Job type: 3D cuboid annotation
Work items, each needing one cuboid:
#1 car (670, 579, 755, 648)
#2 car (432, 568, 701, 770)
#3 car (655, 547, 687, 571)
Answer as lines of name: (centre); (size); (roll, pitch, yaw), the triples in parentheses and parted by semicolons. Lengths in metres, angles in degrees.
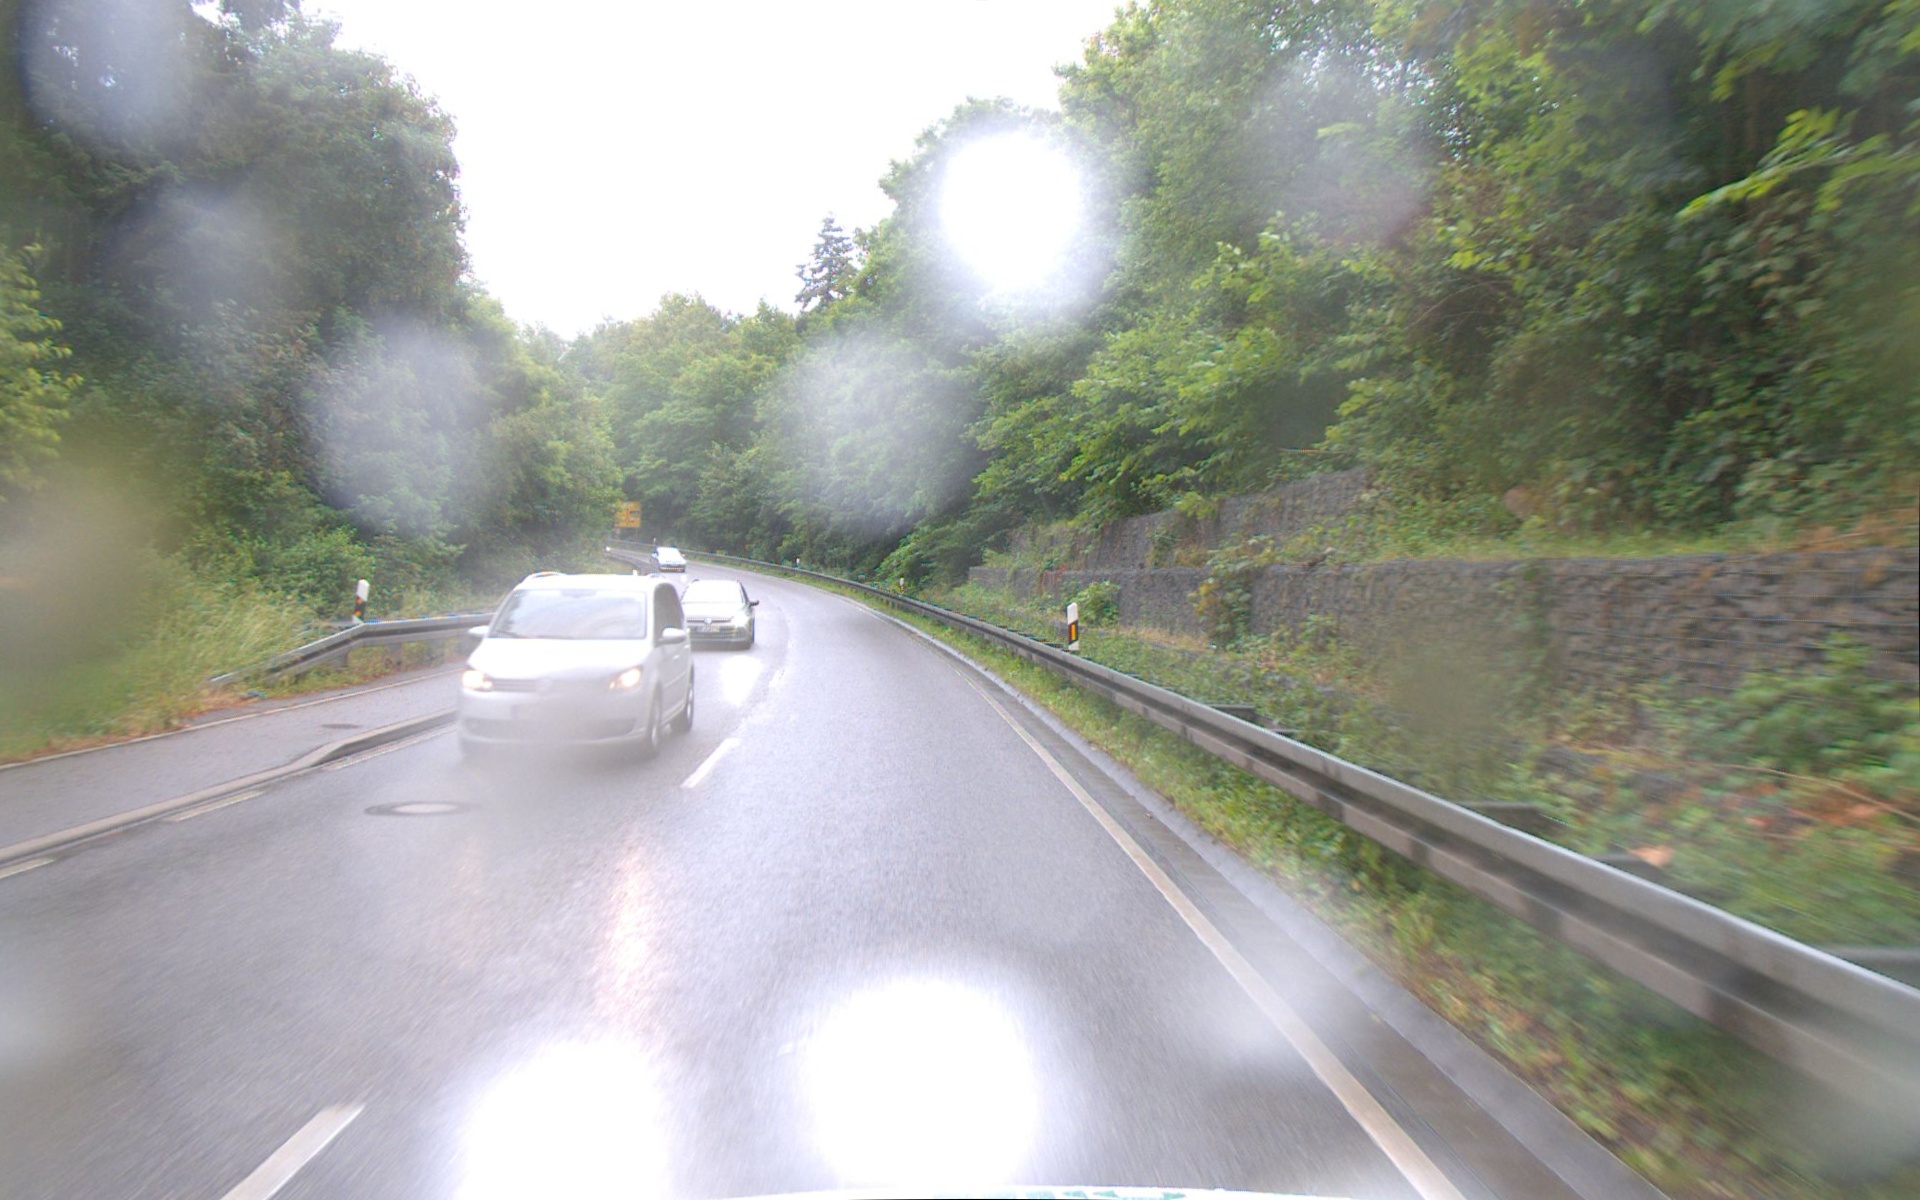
car: (-5.559, 0.283, 37.054); (1.781, 1.459, 3.992); (0, 0, -9)
car: (-3.601, 0.566, 15.859); (1.778, 1.676, 4.129); (0, 0, -3)
car: (-18.464, -2.598, 105.482); (1.570, 1.434, 3.409); (1, 0, -18)
